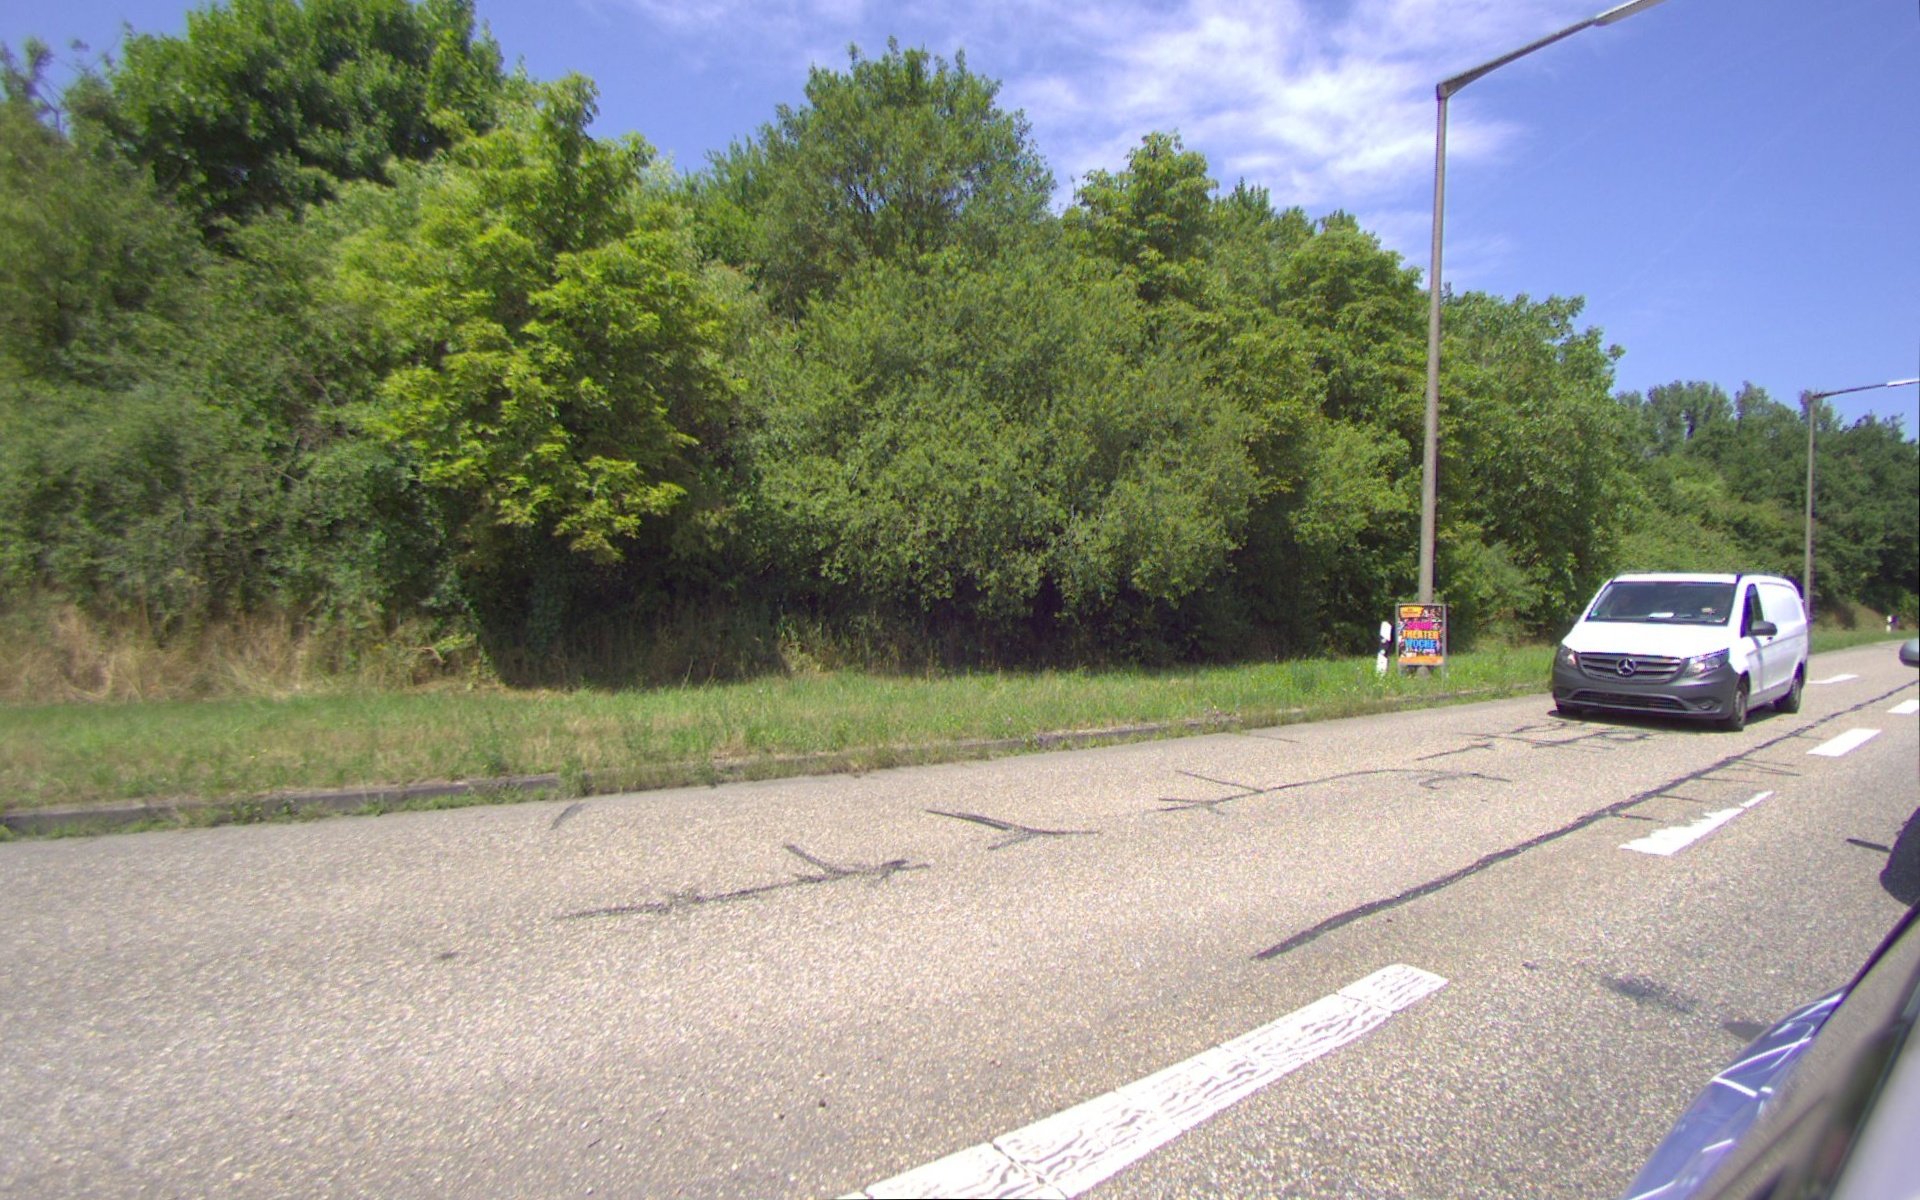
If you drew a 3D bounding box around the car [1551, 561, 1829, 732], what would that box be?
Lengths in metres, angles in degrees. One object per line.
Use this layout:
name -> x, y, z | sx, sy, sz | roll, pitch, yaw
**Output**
car -> 9.609, 0.482, 13.157 | 4.822, 1.841, 1.864 | 0, 1, -41
